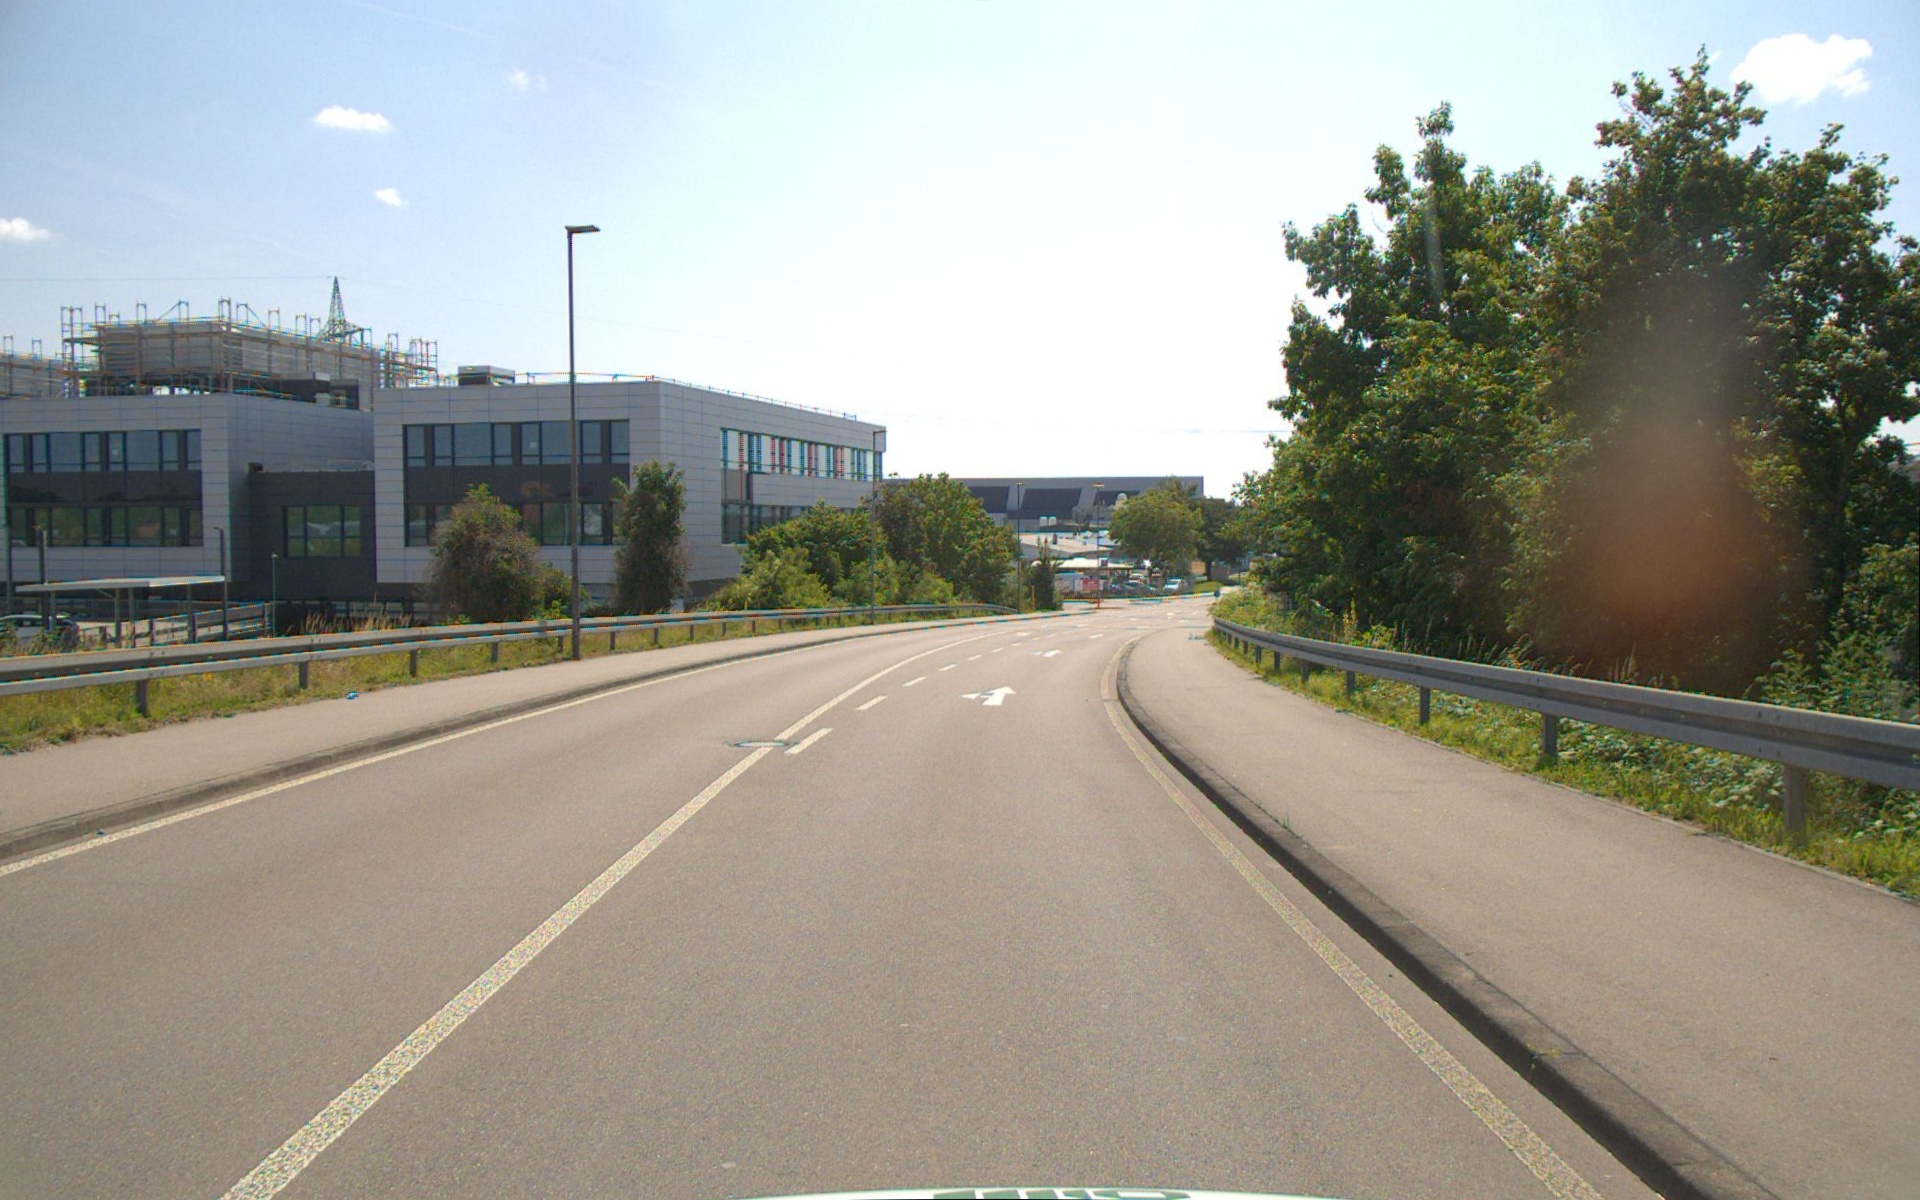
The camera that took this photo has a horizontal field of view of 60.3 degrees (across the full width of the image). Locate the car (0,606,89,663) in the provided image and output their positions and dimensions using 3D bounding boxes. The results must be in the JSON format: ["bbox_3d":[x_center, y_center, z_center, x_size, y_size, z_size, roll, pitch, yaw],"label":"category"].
[{"bbox_3d":[-36.773,1.335,65.096,3.911,2.048,1.958,1,3,-7],"label":"car"}]

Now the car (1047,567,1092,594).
[{"bbox_3d":[10.937,-1.959,165.283,4.290,2.654,1.987,1,1,43],"label":"car"}]

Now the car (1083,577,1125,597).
[{"bbox_3d":[14.581,-1.310,167.479,3.934,1.811,1.986,3,4,45],"label":"car"}]

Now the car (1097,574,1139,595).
[{"bbox_3d":[16.327,-1.613,170.999,3.929,1.936,1.988,3,4,42],"label":"car"}]

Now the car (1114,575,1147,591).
[{"bbox_3d":[20.798,-2.106,202.168,3.903,1.882,1.836,0,1,4],"label":"car"}]
